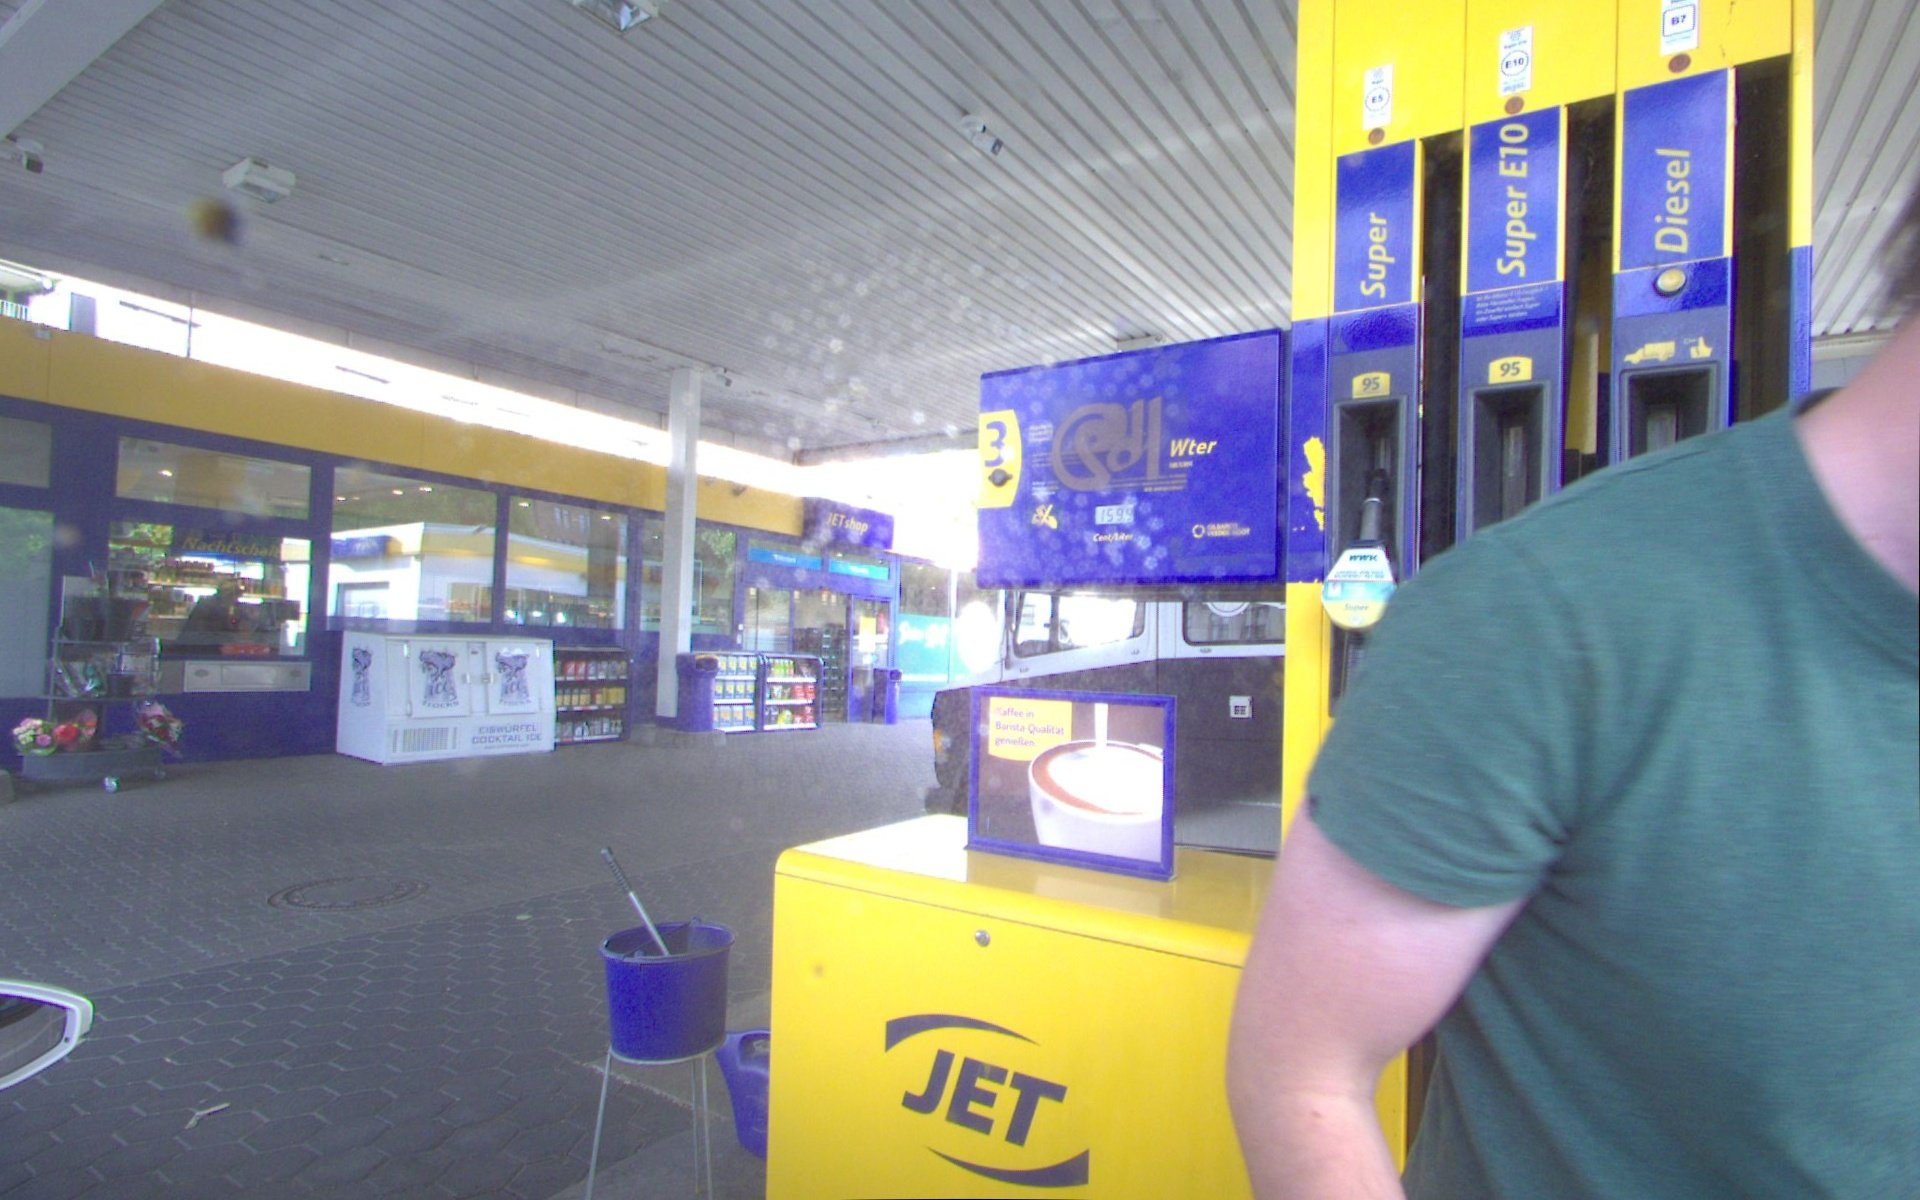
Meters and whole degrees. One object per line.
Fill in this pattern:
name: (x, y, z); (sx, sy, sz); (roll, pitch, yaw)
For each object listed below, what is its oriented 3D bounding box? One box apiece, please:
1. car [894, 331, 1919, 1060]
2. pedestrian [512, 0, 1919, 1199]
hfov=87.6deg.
car: (2.364, 0.439, 6.004); (5.271, 2.759, 2.193); (-1, -3, 34)
pedestrian: (0.547, 0.564, 0.541); (1.167, 1.750, 0.988); (-2, -2, 35)
